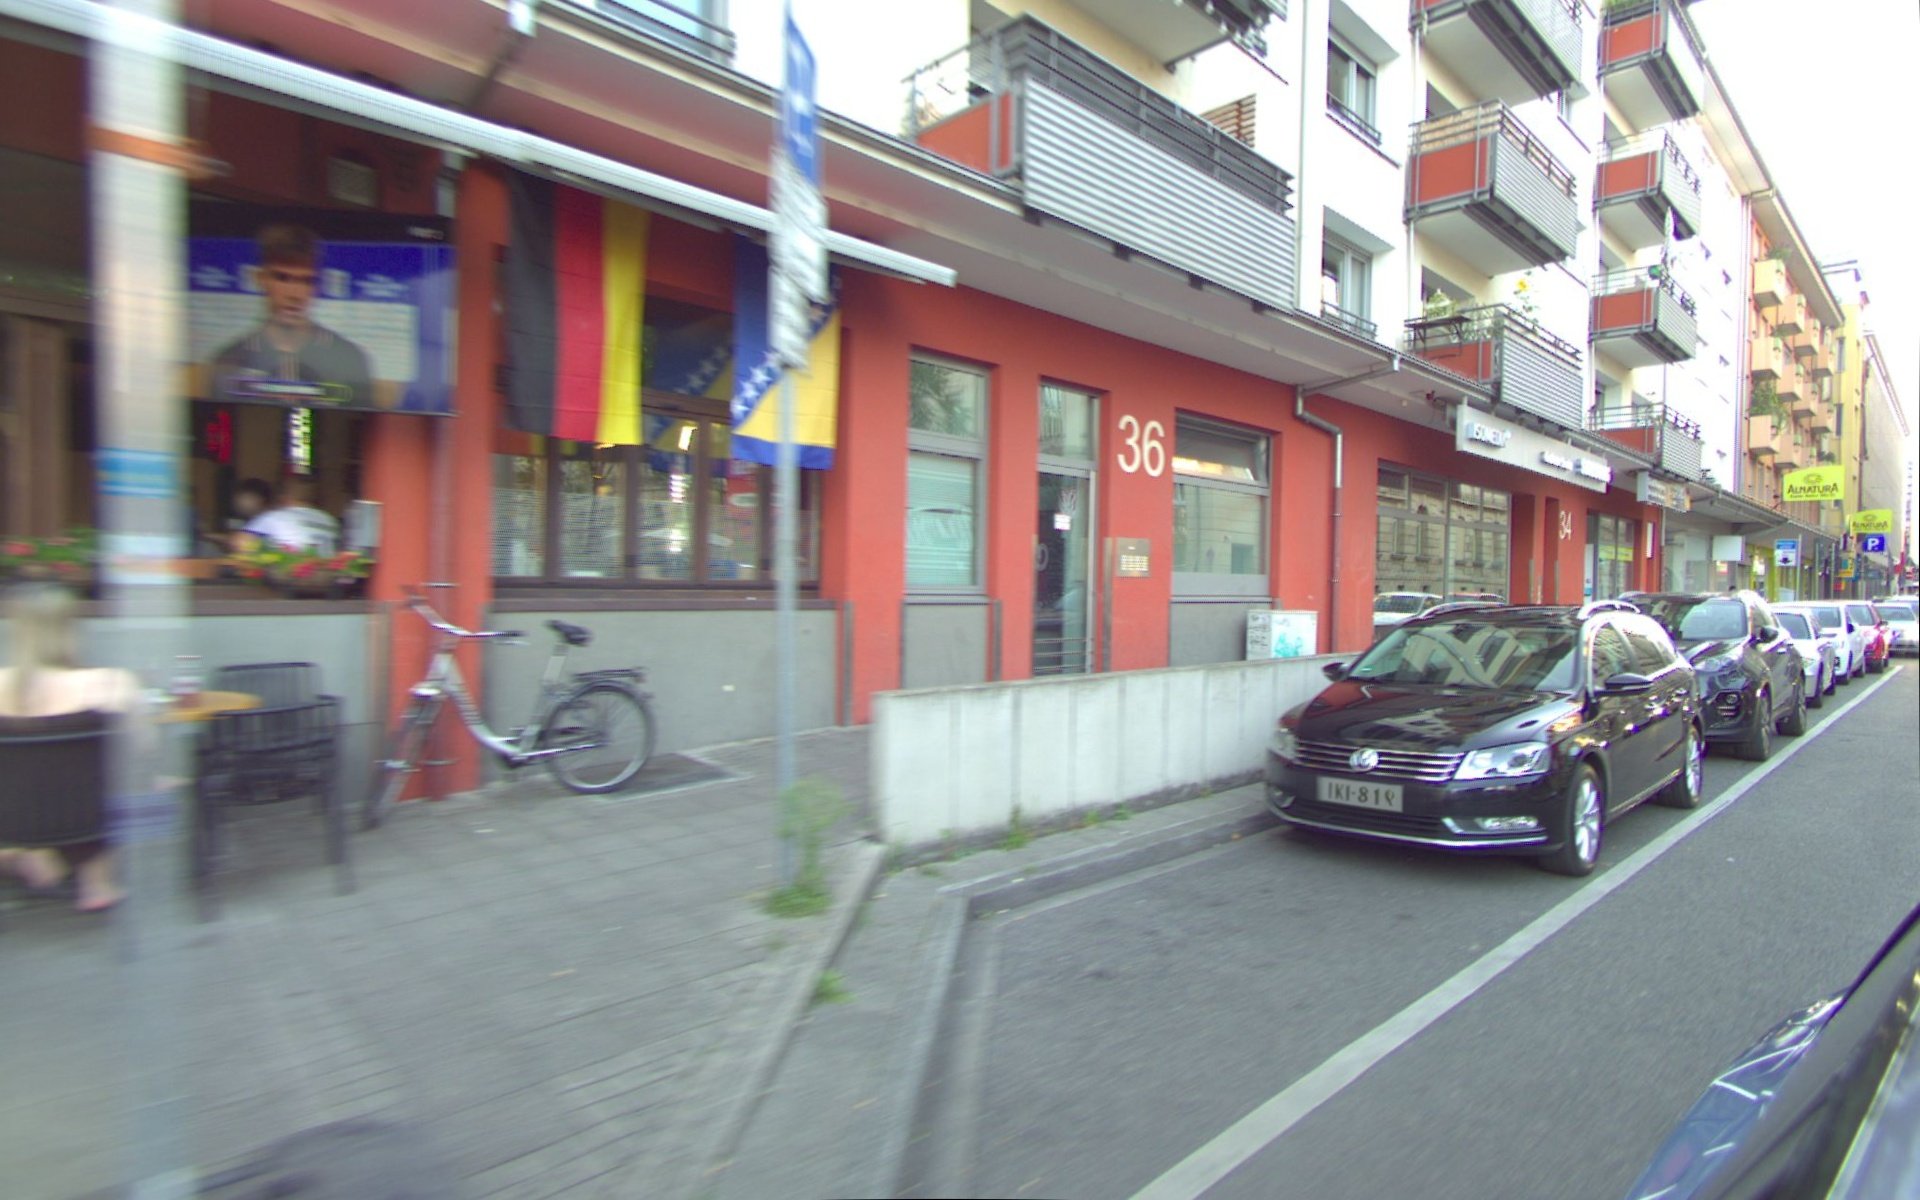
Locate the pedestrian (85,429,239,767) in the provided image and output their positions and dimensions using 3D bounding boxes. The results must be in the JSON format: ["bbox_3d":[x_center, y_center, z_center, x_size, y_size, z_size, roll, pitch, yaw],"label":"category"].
[{"bbox_3d":[-4.492,-0.017,5.696,0.608,1.760,0.610,0,0,-45],"label":"pedestrian"}]

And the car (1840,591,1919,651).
[{"bbox_3d":[25.214,0.521,27.174,4.226,1.496,1.895,0,0,-42],"label":"car"}]

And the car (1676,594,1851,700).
[{"bbox_3d":[12.472,0.629,15.624,1.748,1.421,3.904,0,0,44],"label":"car"}]

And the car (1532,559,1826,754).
[{"bbox_3d":[7.940,0.492,11.029,4.068,1.721,1.880,0,0,-43],"label":"car"}]

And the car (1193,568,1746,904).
[{"bbox_3d":[3.728,0.634,6.962,4.550,1.571,1.876,0,0,-42],"label":"car"}]

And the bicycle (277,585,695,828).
[{"bbox_3d":[-2.458,0.481,5.464,1.972,1.101,0.549,0,0,-44],"label":"bicycle"}]

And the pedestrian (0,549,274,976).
[{"bbox_3d":[-3.070,0.476,3.583,0.844,1.293,0.709,2,4,25],"label":"pedestrian"}]

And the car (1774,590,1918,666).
[{"bbox_3d":[19.513,0.553,22.227,4.318,1.496,1.864,0,0,-42],"label":"car"}]

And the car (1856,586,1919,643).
[{"bbox_3d":[29.280,0.421,31.071,4.288,1.637,1.998,0,0,-39],"label":"car"}]

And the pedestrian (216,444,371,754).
[{"bbox_3d":[-4.066,-0.014,6.170,0.658,1.742,0.717,0,0,-45],"label":"pedestrian"}]

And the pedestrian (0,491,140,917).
[{"bbox_3d":[-3.851,0.378,3.952,0.844,1.555,0.708,0,0,25],"label":"pedestrian"}]

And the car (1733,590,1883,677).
[{"bbox_3d":[16.254,0.571,19.336,3.881,1.496,1.765,0,0,-43],"label":"car"}]

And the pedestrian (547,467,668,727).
[{"bbox_3d":[-2.944,-0.031,8.434,0.798,2.039,0.670,1,0,-33],"label":"pedestrian"}]
